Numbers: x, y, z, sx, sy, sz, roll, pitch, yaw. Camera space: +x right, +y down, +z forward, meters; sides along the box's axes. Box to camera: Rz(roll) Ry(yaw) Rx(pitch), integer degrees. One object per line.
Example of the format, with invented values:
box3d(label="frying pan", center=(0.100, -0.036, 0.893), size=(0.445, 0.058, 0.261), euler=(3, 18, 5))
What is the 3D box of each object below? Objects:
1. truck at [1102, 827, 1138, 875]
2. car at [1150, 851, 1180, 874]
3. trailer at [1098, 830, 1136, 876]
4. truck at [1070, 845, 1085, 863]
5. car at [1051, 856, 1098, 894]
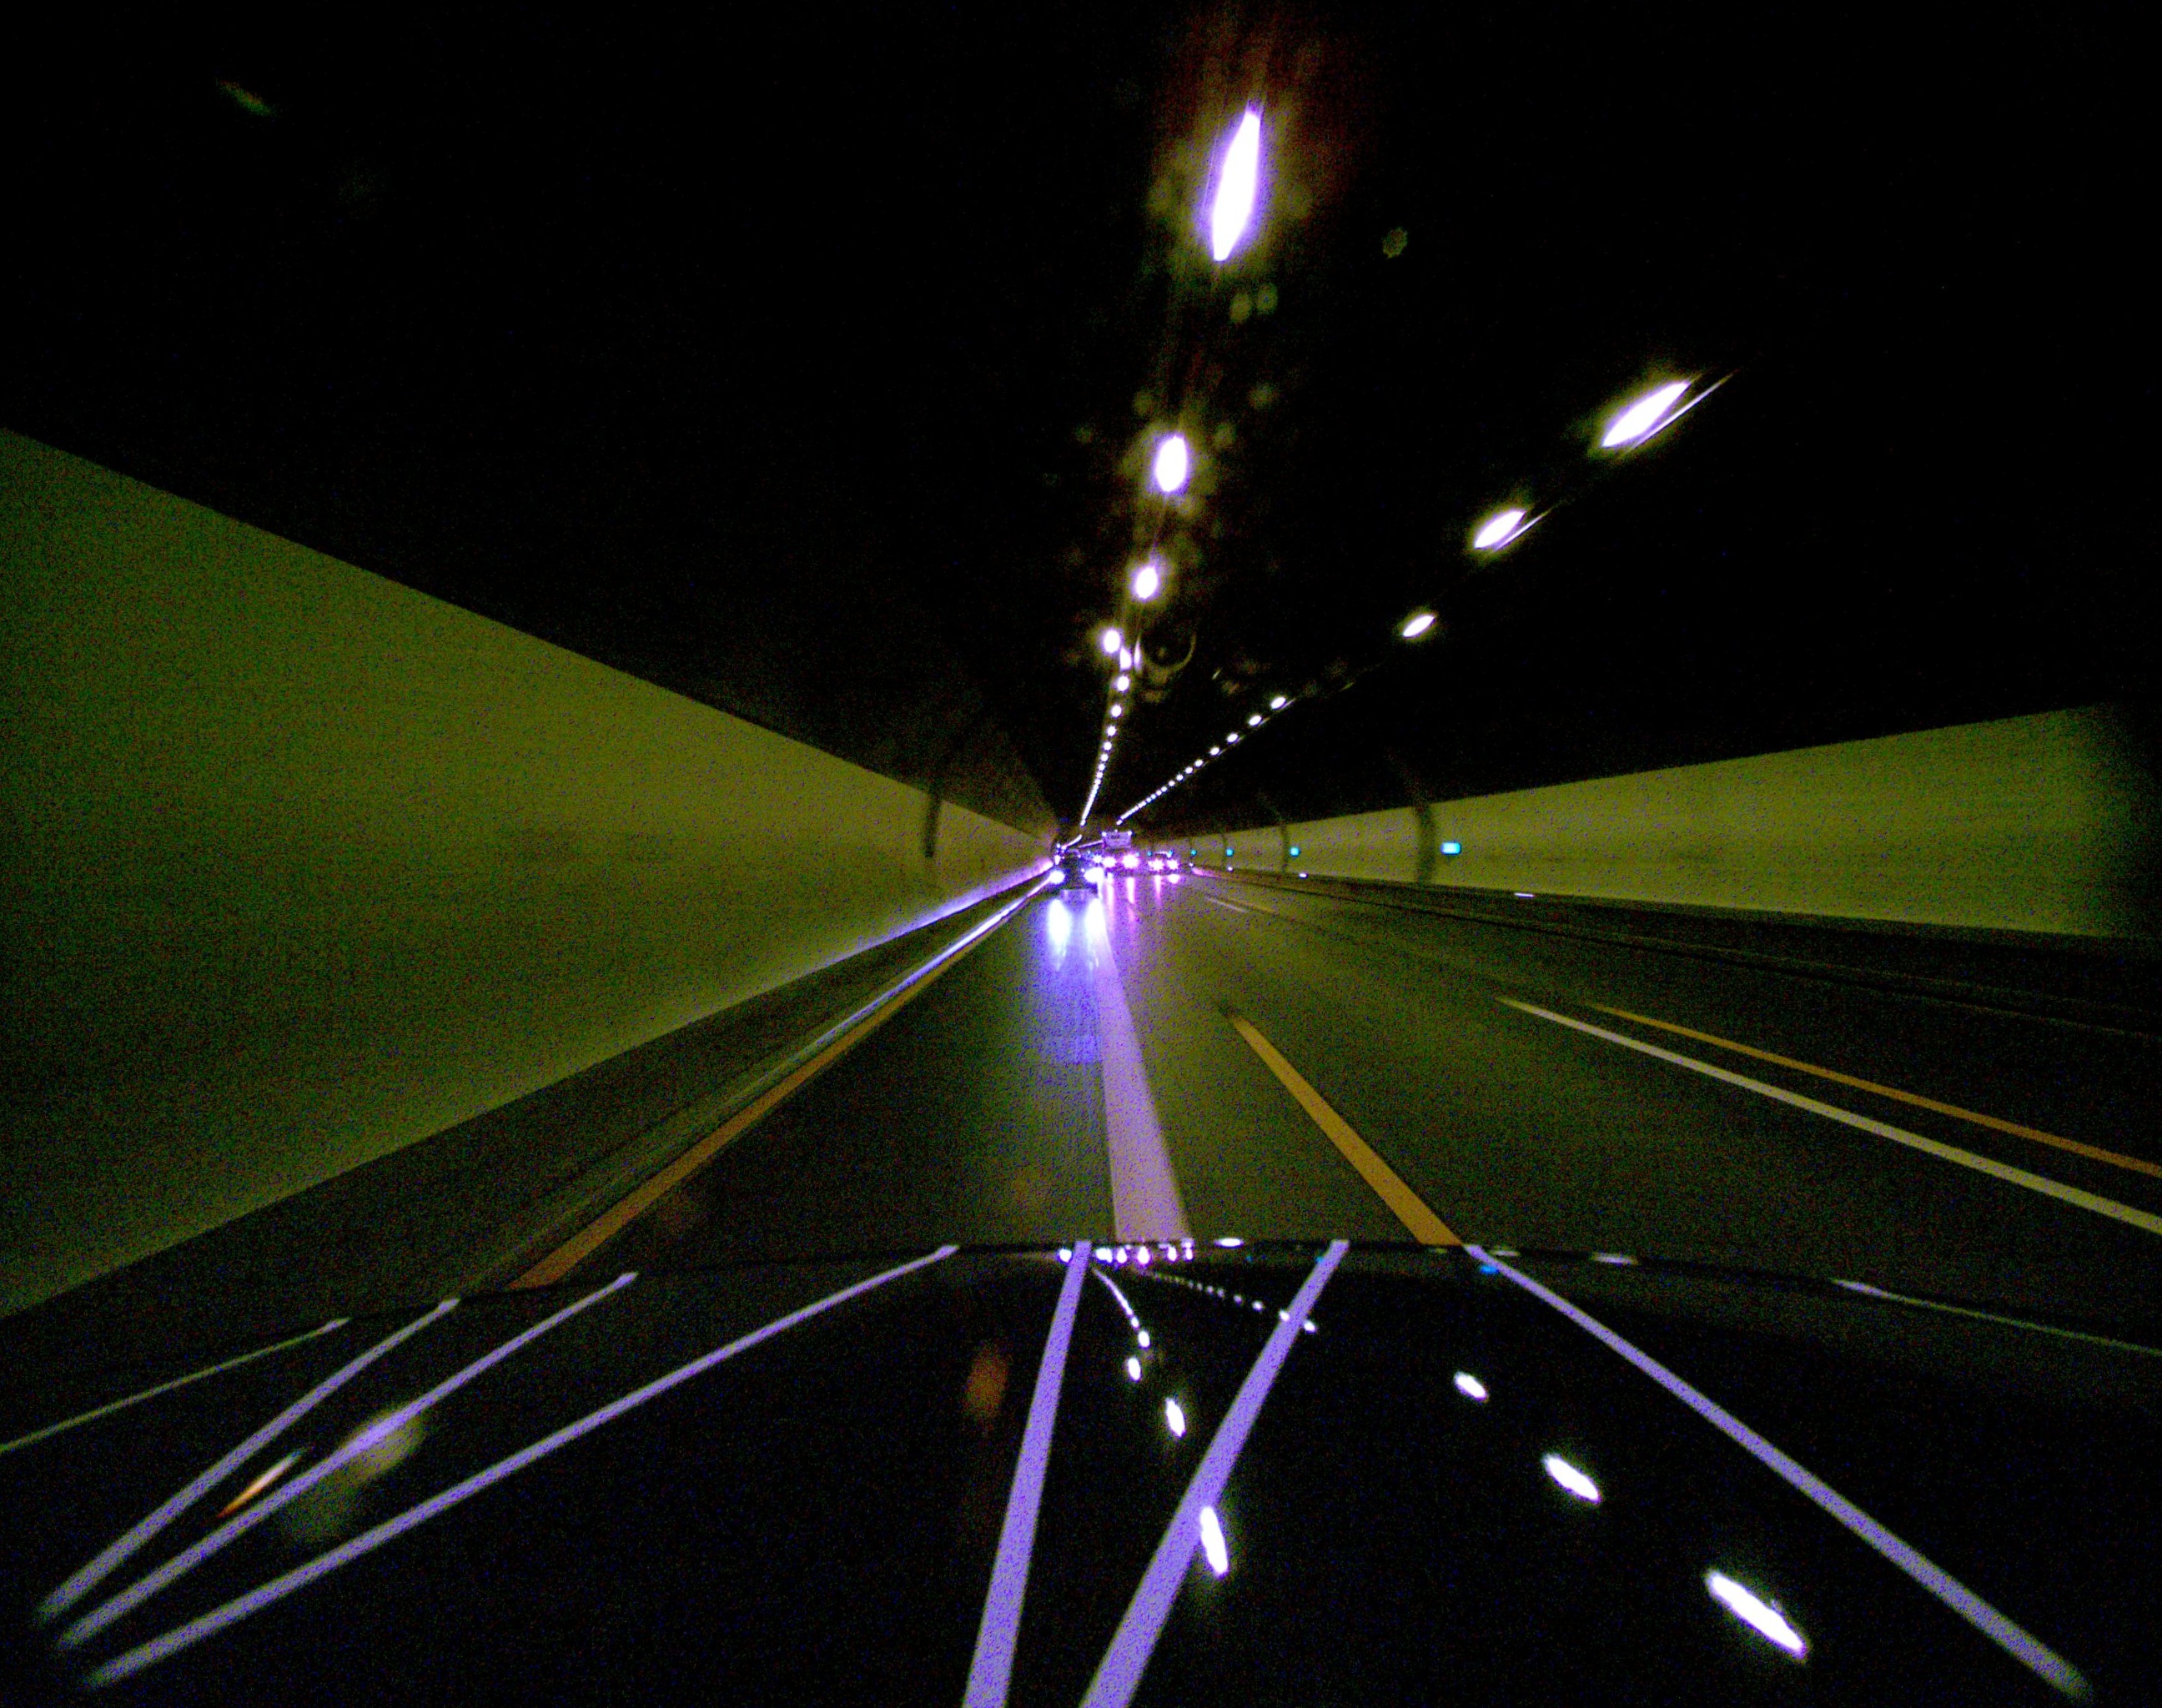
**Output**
box3d(label="truck", center=(2.800, -0.216, 55.469), size=(2.374, 3.328, 4.719), euler=(-1, 0, 0))
box3d(label="car", center=(6.104, 0.581, 55.847), size=(1.766, 1.563, 4.097), euler=(0, 0, 0))
box3d(label="trailer", center=(2.801, -0.057, 61.960), size=(2.374, 3.328, 12.078), euler=(2, 0, 0))
box3d(label="truck", center=(-0.538, 0.034, 119.333), size=(2.151, 2.608, 9.909), euler=(1, -2, 1))
box3d(label="car", center=(-0.222, 0.849, 32.266), size=(1.727, 1.474, 4.001), euler=(1, 0, 3))
